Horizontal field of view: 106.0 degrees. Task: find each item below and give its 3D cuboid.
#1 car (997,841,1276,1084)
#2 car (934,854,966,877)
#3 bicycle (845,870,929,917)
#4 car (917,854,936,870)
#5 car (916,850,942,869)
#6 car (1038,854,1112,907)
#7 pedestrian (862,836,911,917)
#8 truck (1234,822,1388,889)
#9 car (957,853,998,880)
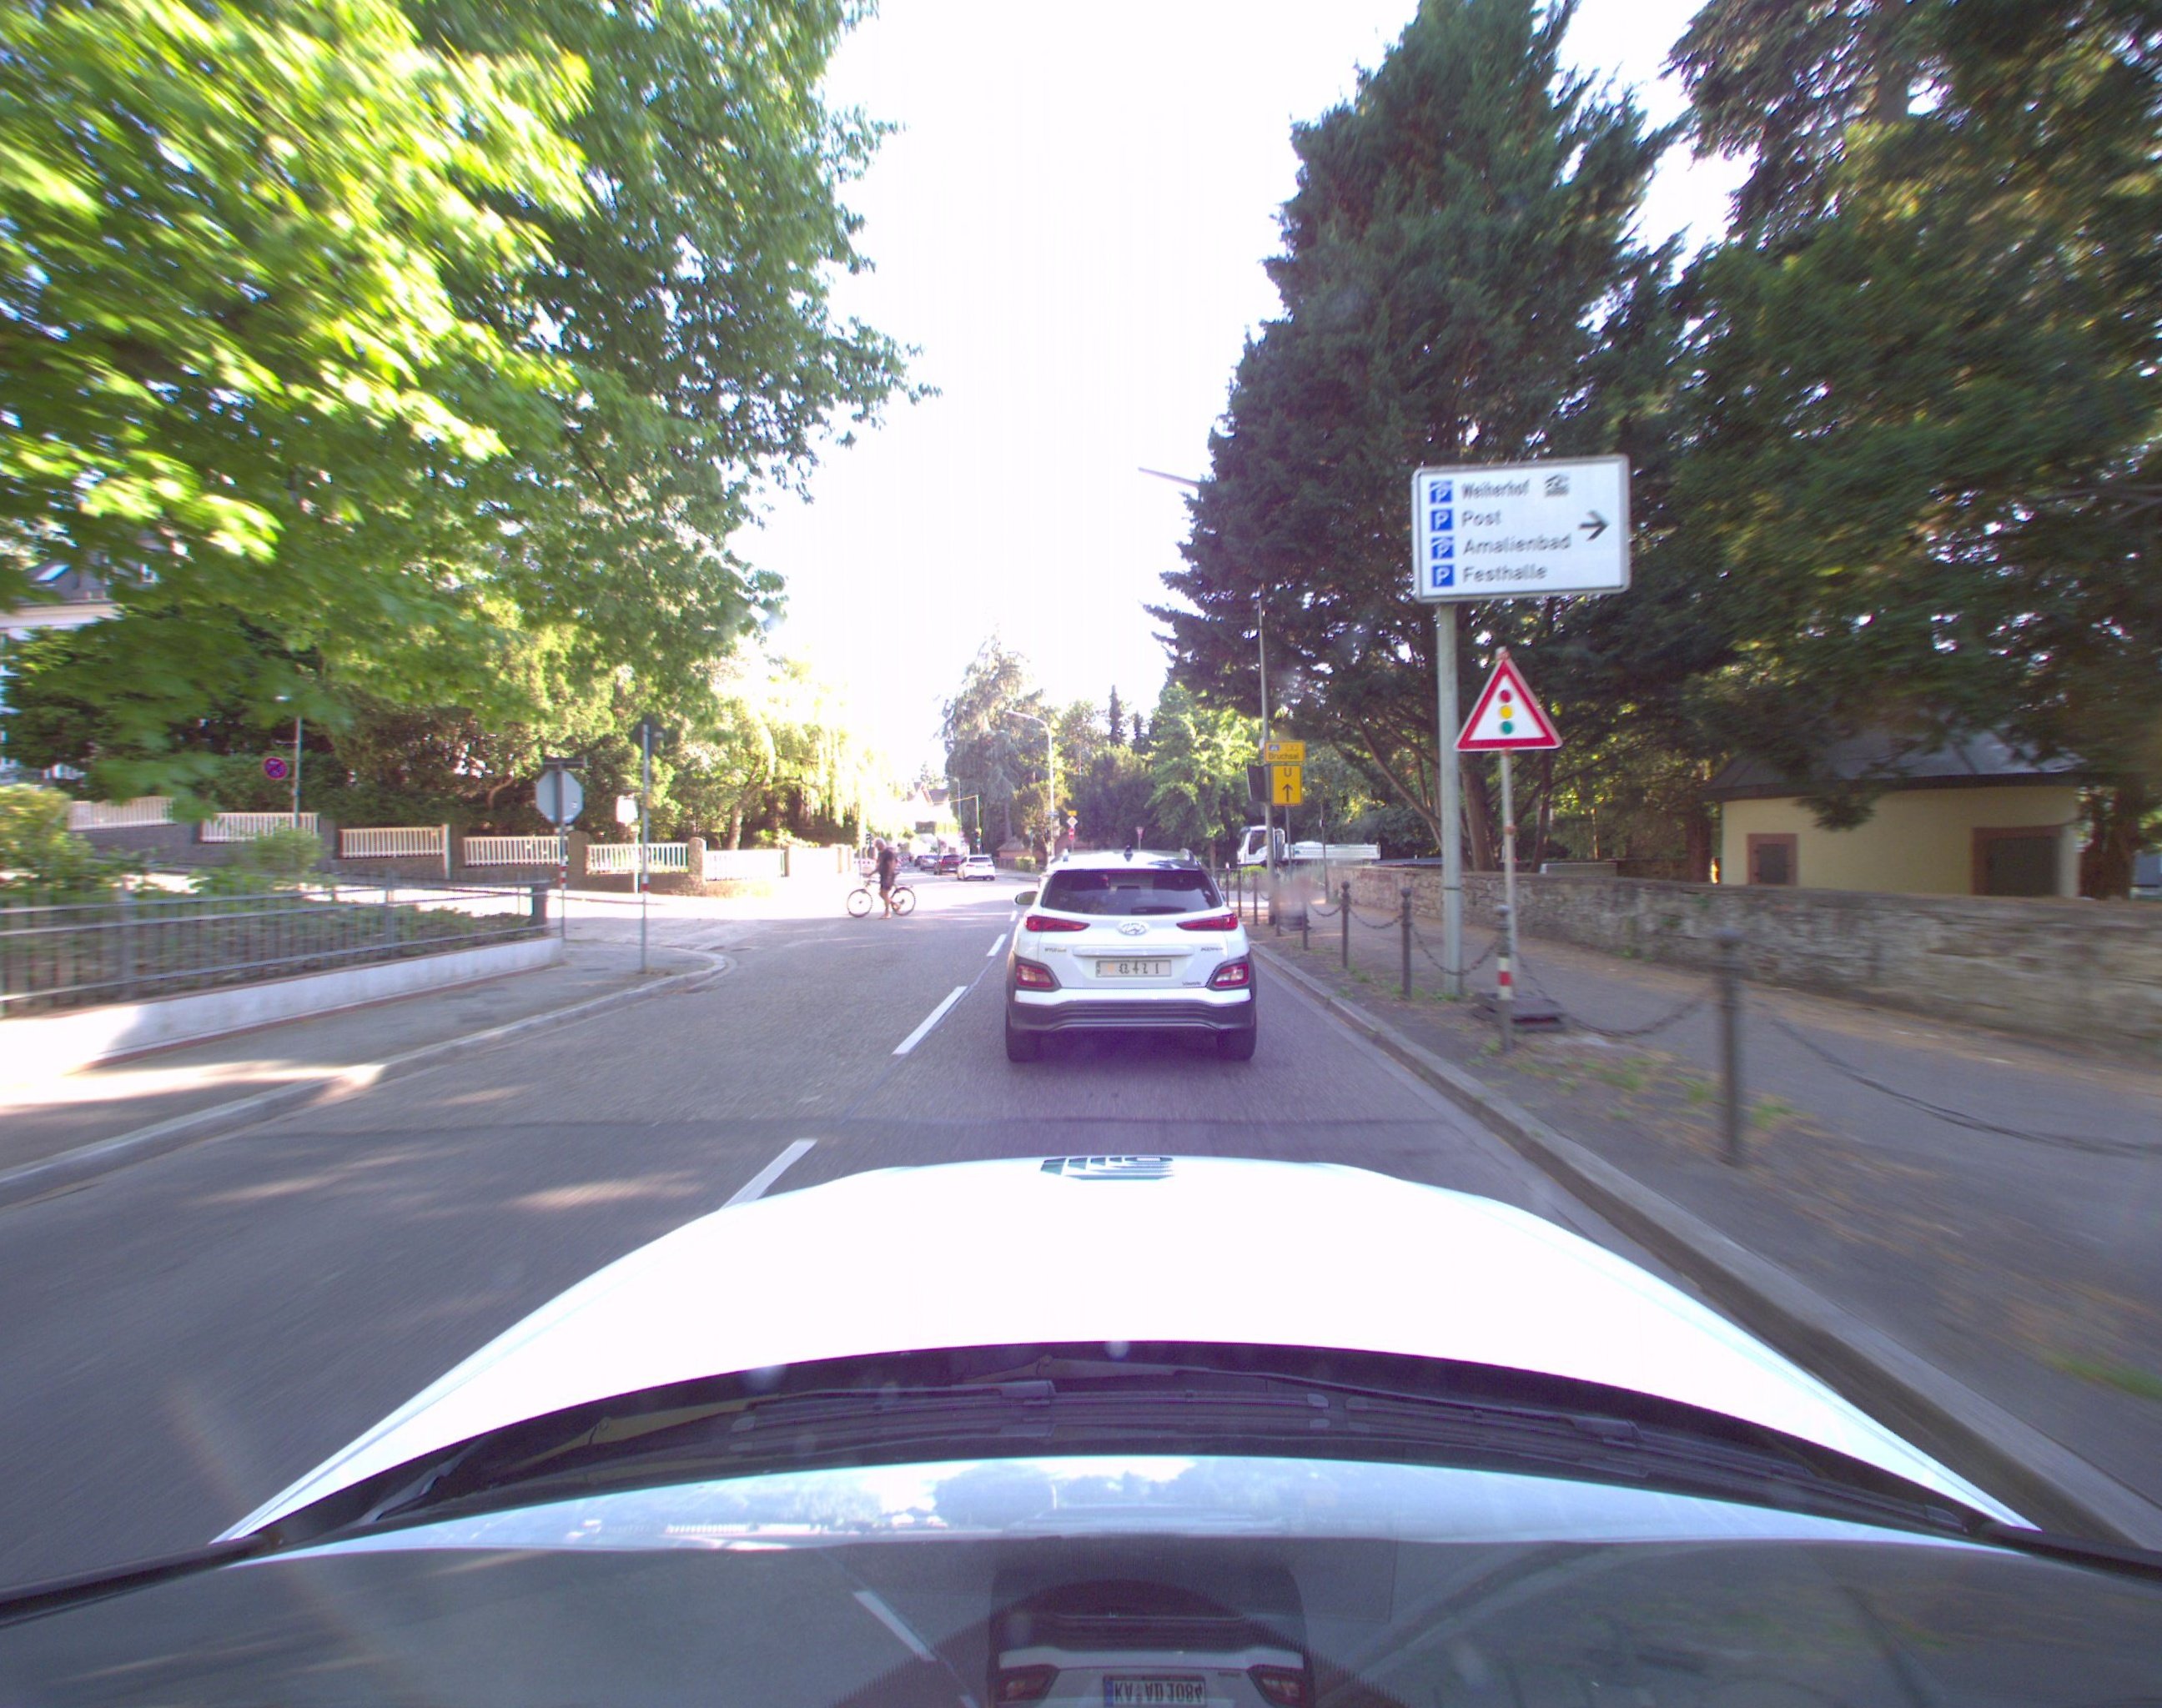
[{"bbox_3d":[0.421,0.706,7.348,1.813,1.574,4.001,1,0,2],"label":"car"},{"bbox_3d":[-9.853,0.816,60.864,1.836,1.662,3.977,1,0,-17],"label":"car"},{"bbox_3d":[-4.566,0.915,19.217,1.825,1.043,0.555,1,1,-36],"label":"bicycle"},{"bbox_3d":[-17.085,0.891,89.981,1.835,1.662,3.979,1,0,-15],"label":"car"},{"bbox_3d":[-14.246,0.493,76.160,1.837,1.741,3.974,1,0,-19],"label":"car"},{"bbox_3d":[-0.283,0.735,24.718,1.707,1.434,4.353,1,0,-8],"label":"car"},{"bbox_3d":[-4.475,0.502,18.774,0.947,1.826,0.548,1,0,-37],"label":"pedestrian"},{"bbox_3d":[10.507,0.053,37.755,6.552,2.895,2.438,1,0,6],"label":"truck"},{"bbox_3d":[-6.130,0.713,47.875,1.809,1.537,3.978,1,0,-16],"label":"car"}]
